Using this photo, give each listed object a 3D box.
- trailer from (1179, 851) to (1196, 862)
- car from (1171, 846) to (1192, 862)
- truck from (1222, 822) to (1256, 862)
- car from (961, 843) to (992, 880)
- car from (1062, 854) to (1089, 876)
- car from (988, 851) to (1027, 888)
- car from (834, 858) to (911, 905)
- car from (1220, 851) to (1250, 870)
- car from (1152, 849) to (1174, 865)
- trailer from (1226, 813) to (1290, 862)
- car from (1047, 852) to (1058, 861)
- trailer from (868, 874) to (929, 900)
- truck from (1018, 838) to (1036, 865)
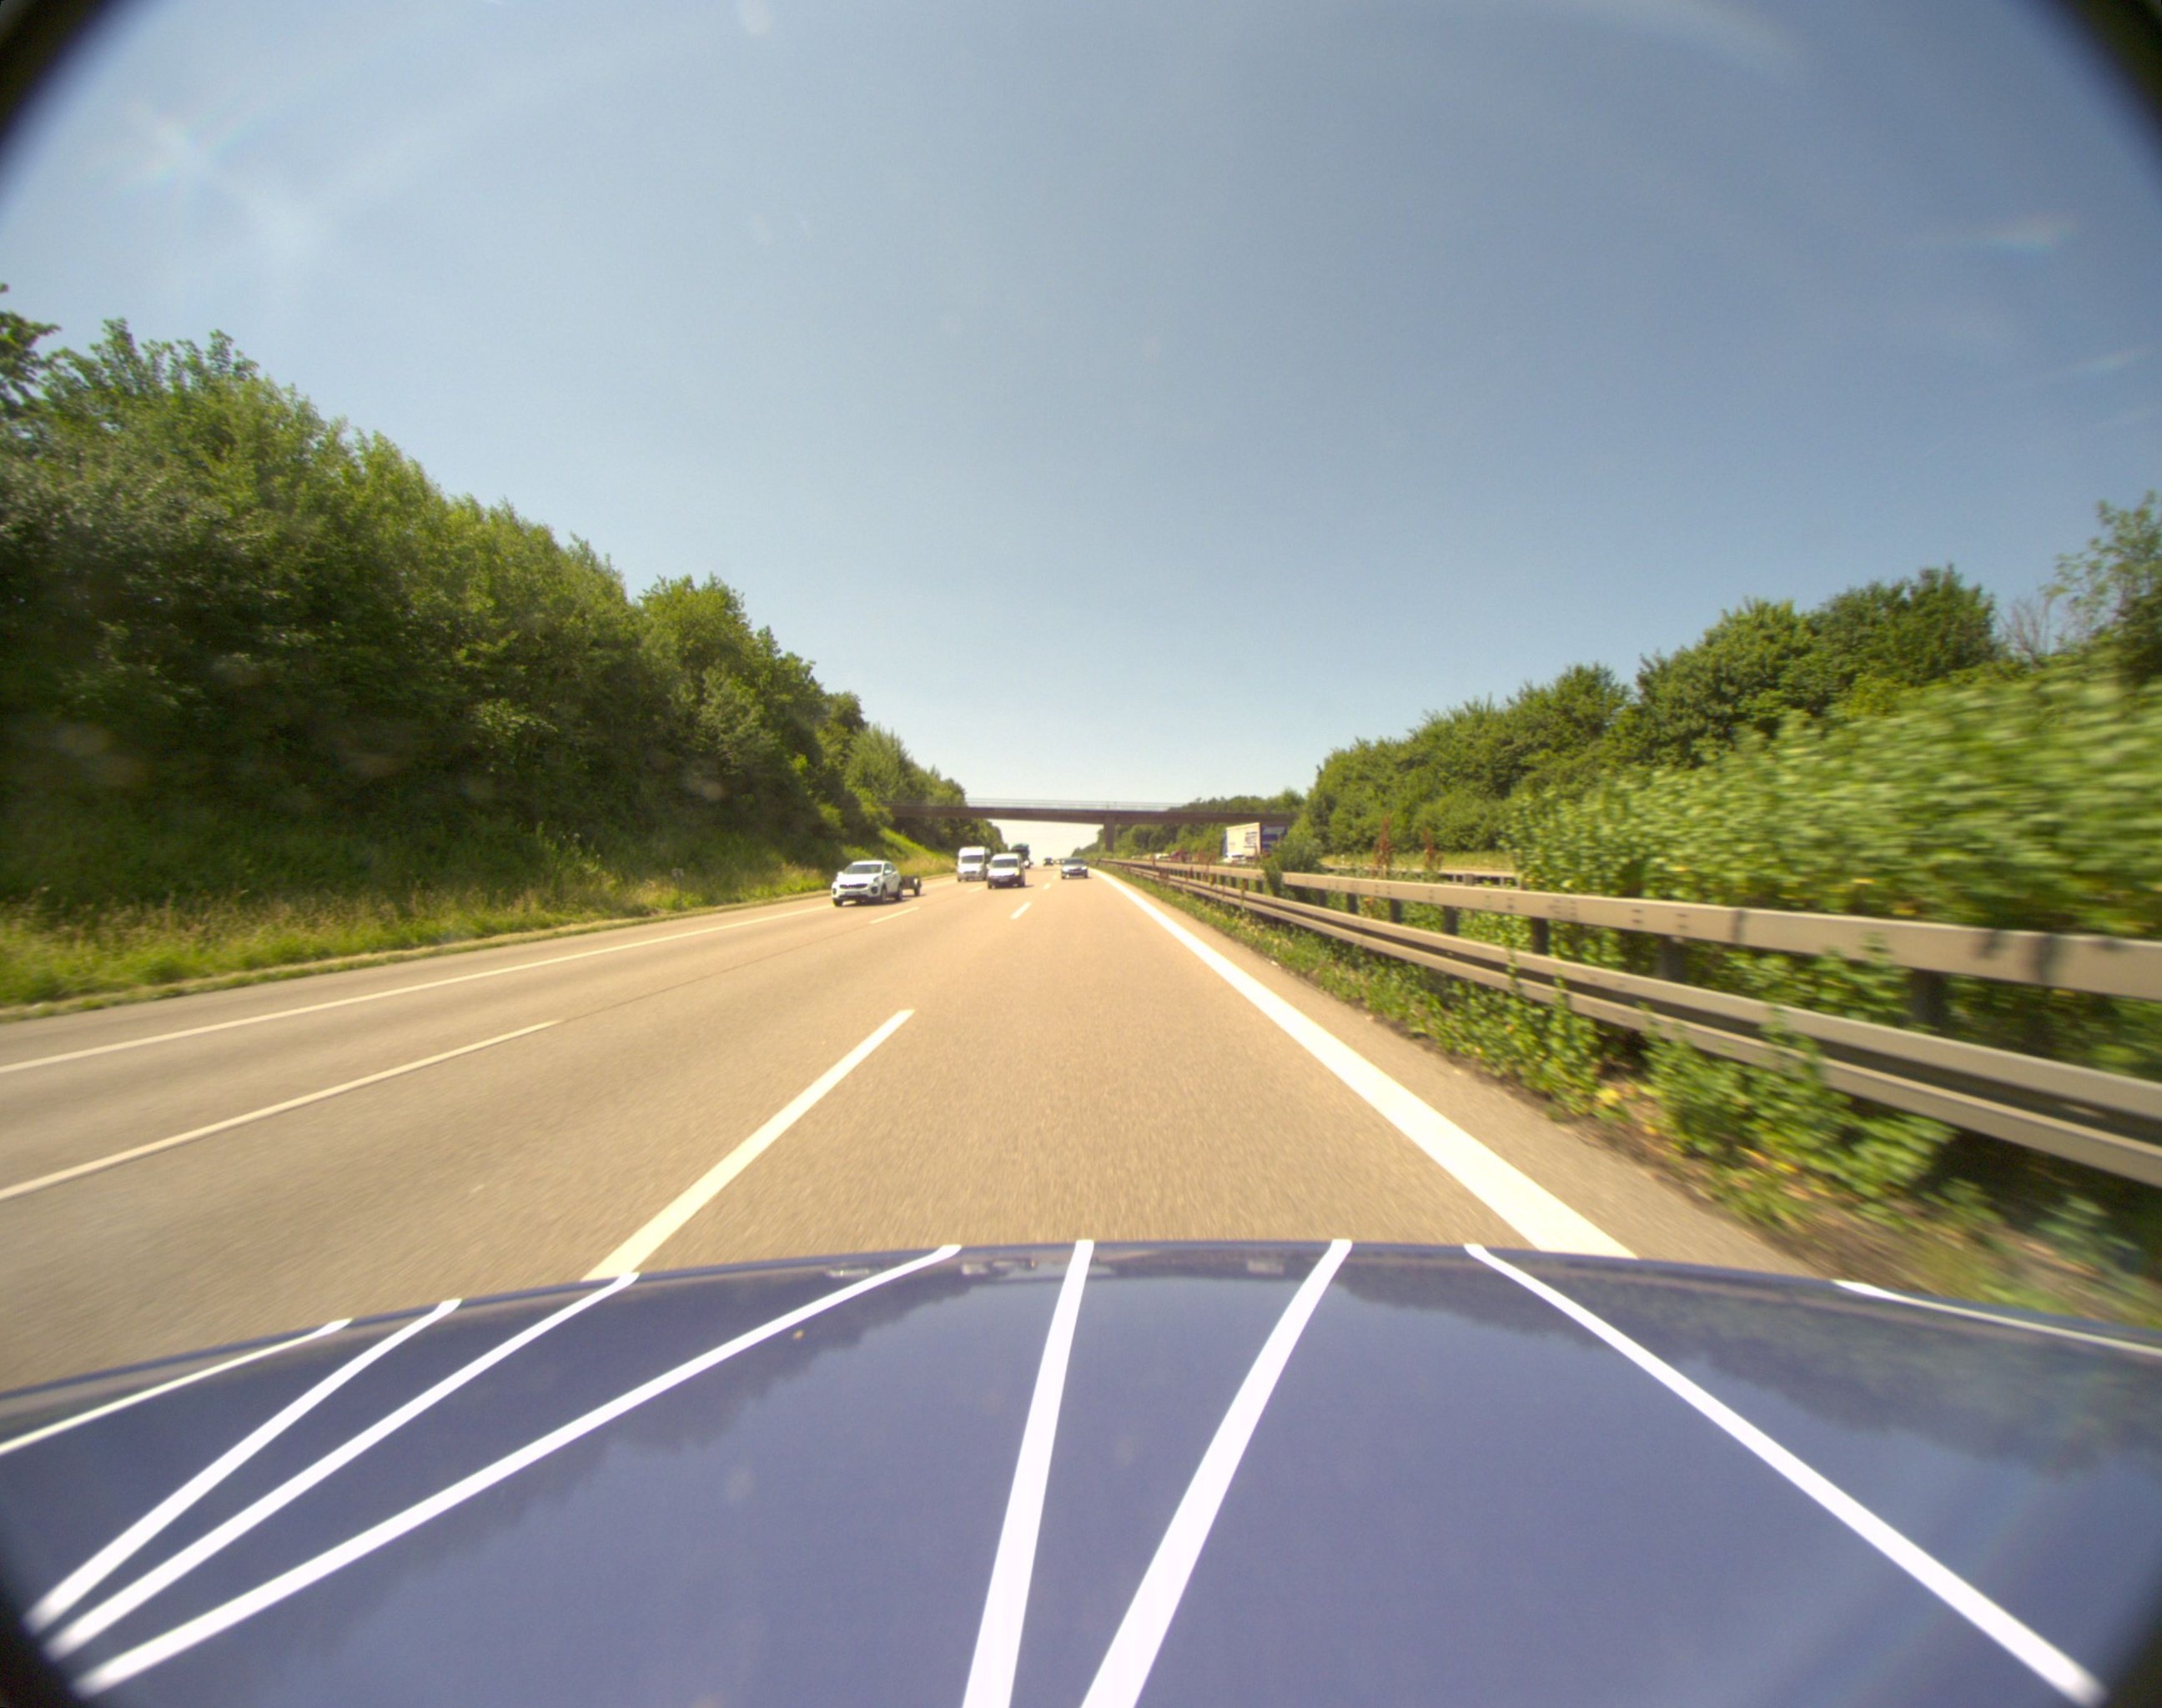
[{"bbox_3d":[12.780,0.288,91.551,1.598,1.313,3.258,-2,1,0],"label":"trailer"},{"bbox_3d":[12.707,0.007,96.122,1.865,1.869,5.824,-2,0,0],"label":"car"},{"bbox_3d":[17.074,-1.216,82.440,2.499,4.094,5.084,-2,-1,0],"label":"truck"},{"bbox_3d":[-7.873,0.589,57.452,2.096,2.560,6.618,-2,-1,-7],"label":"car"},{"bbox_3d":[-0.350,0.794,53.312,1.768,1.400,4.000,-2,-1,0],"label":"car"},{"bbox_3d":[-3.958,0.797,41.473,1.750,1.819,4.800,-2,0,-2],"label":"car"},{"bbox_3d":[-8.102,1.047,29.879,1.786,1.641,4.403,-2,-1,-1],"label":"car"},{"bbox_3d":[12.690,0.507,62.853,1.585,1.454,4.357,-2,0,0],"label":"car"},{"bbox_3d":[8.471,0.301,78.848,1.680,1.545,4.391,-2,-1,-2],"label":"car"},{"bbox_3d":[17.160,-1.391,74.907,2.641,4.228,14.677,-2,-1,0],"label":"trailer"},{"bbox_3d":[-5.360,0.557,143.510,1.788,1.550,3.942,-2,-1,-5],"label":"car"},{"bbox_3d":[-8.128,1.456,34.249,1.759,0.903,4.319,-2,0,-1],"label":"trailer"},{"bbox_3d":[-8.080,-0.329,113.913,2.517,3.818,4.891,-2,-1,-5],"label":"truck"}]
